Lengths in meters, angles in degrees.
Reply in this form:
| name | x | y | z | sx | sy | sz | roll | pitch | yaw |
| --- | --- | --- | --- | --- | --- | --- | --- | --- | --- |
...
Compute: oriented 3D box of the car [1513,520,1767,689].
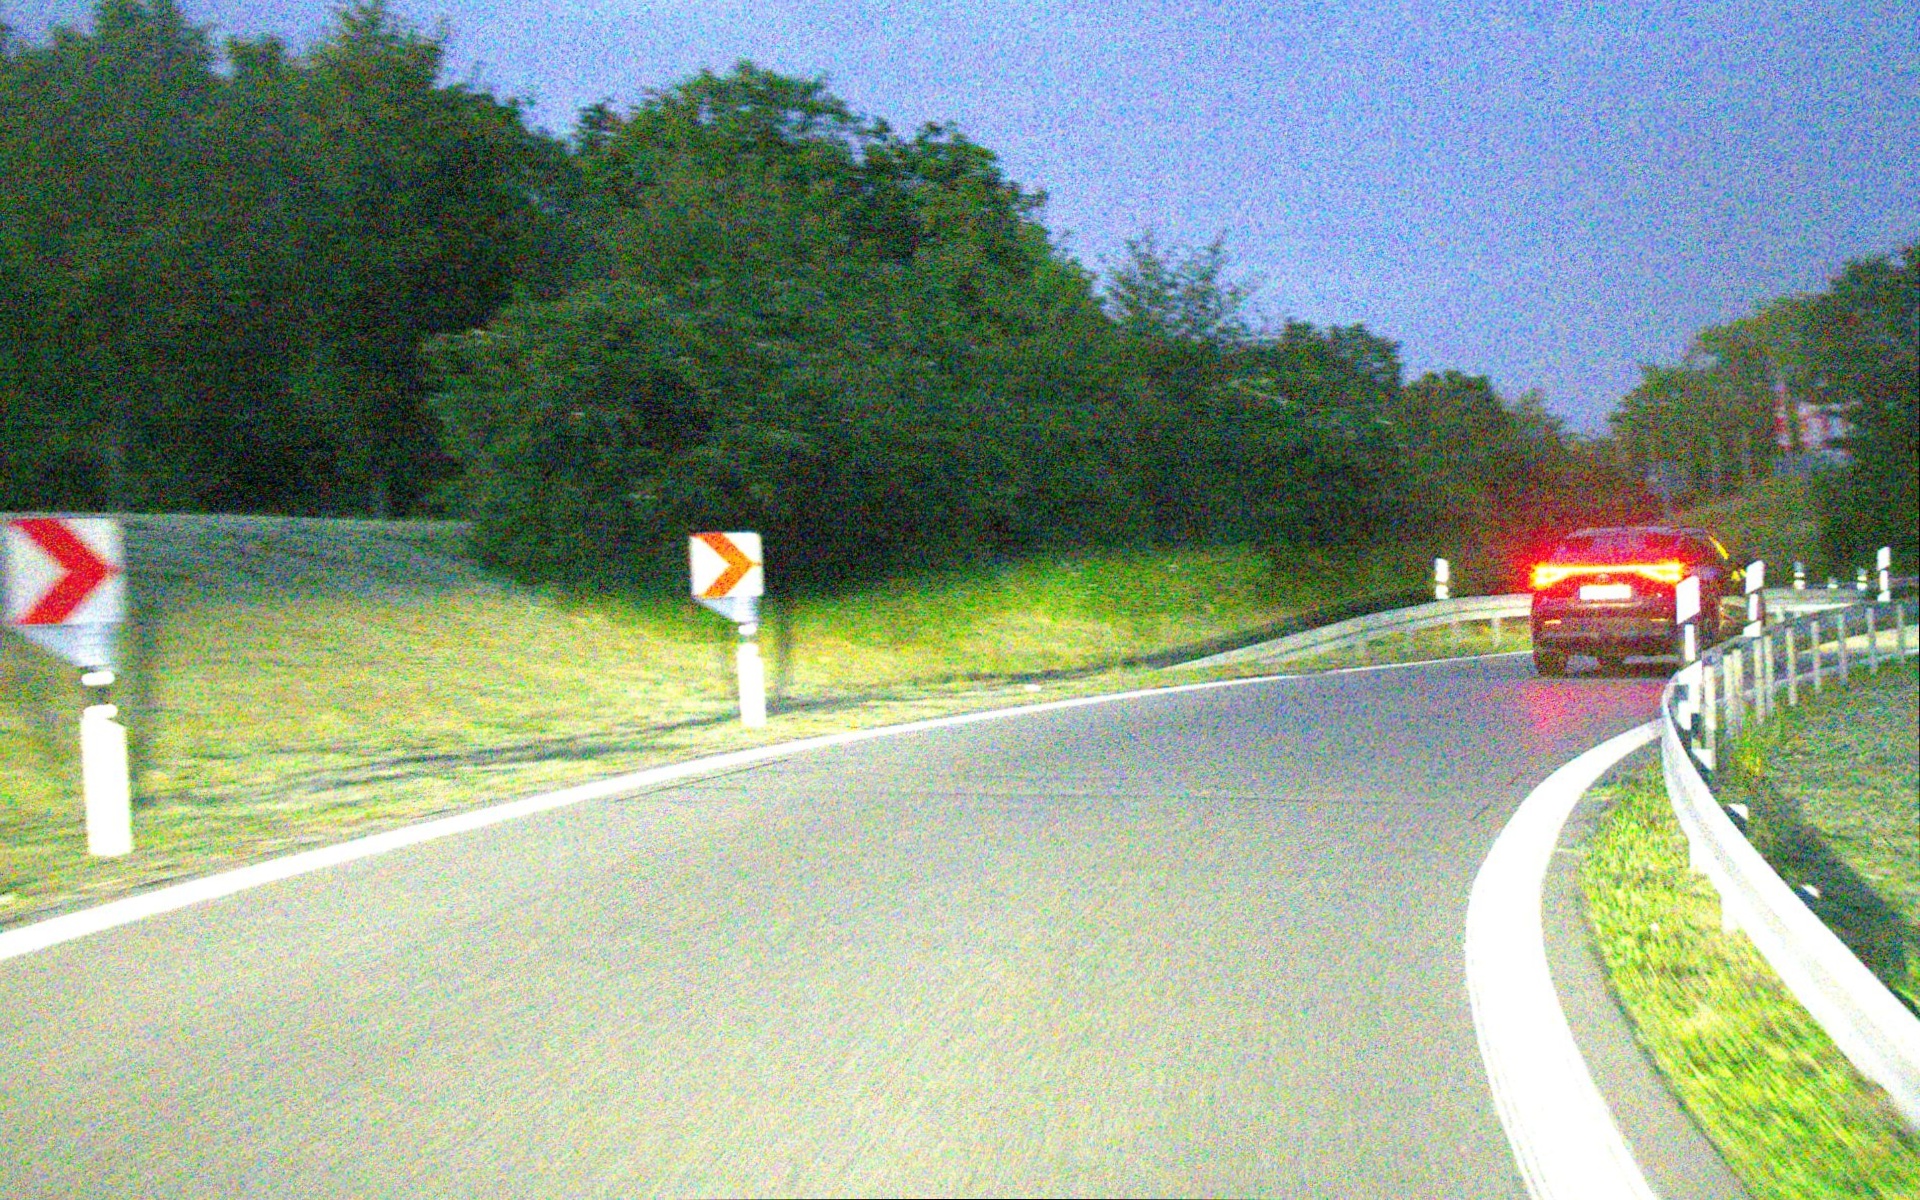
| name | x | y | z | sx | sy | sz | roll | pitch | yaw |
| --- | --- | --- | --- | --- | --- | --- | --- | --- | --- |
| car | 7.515 | 0.093 | 37.665 | 1.995 | 1.654 | 4.310 | -3 | -2 | 20 |
